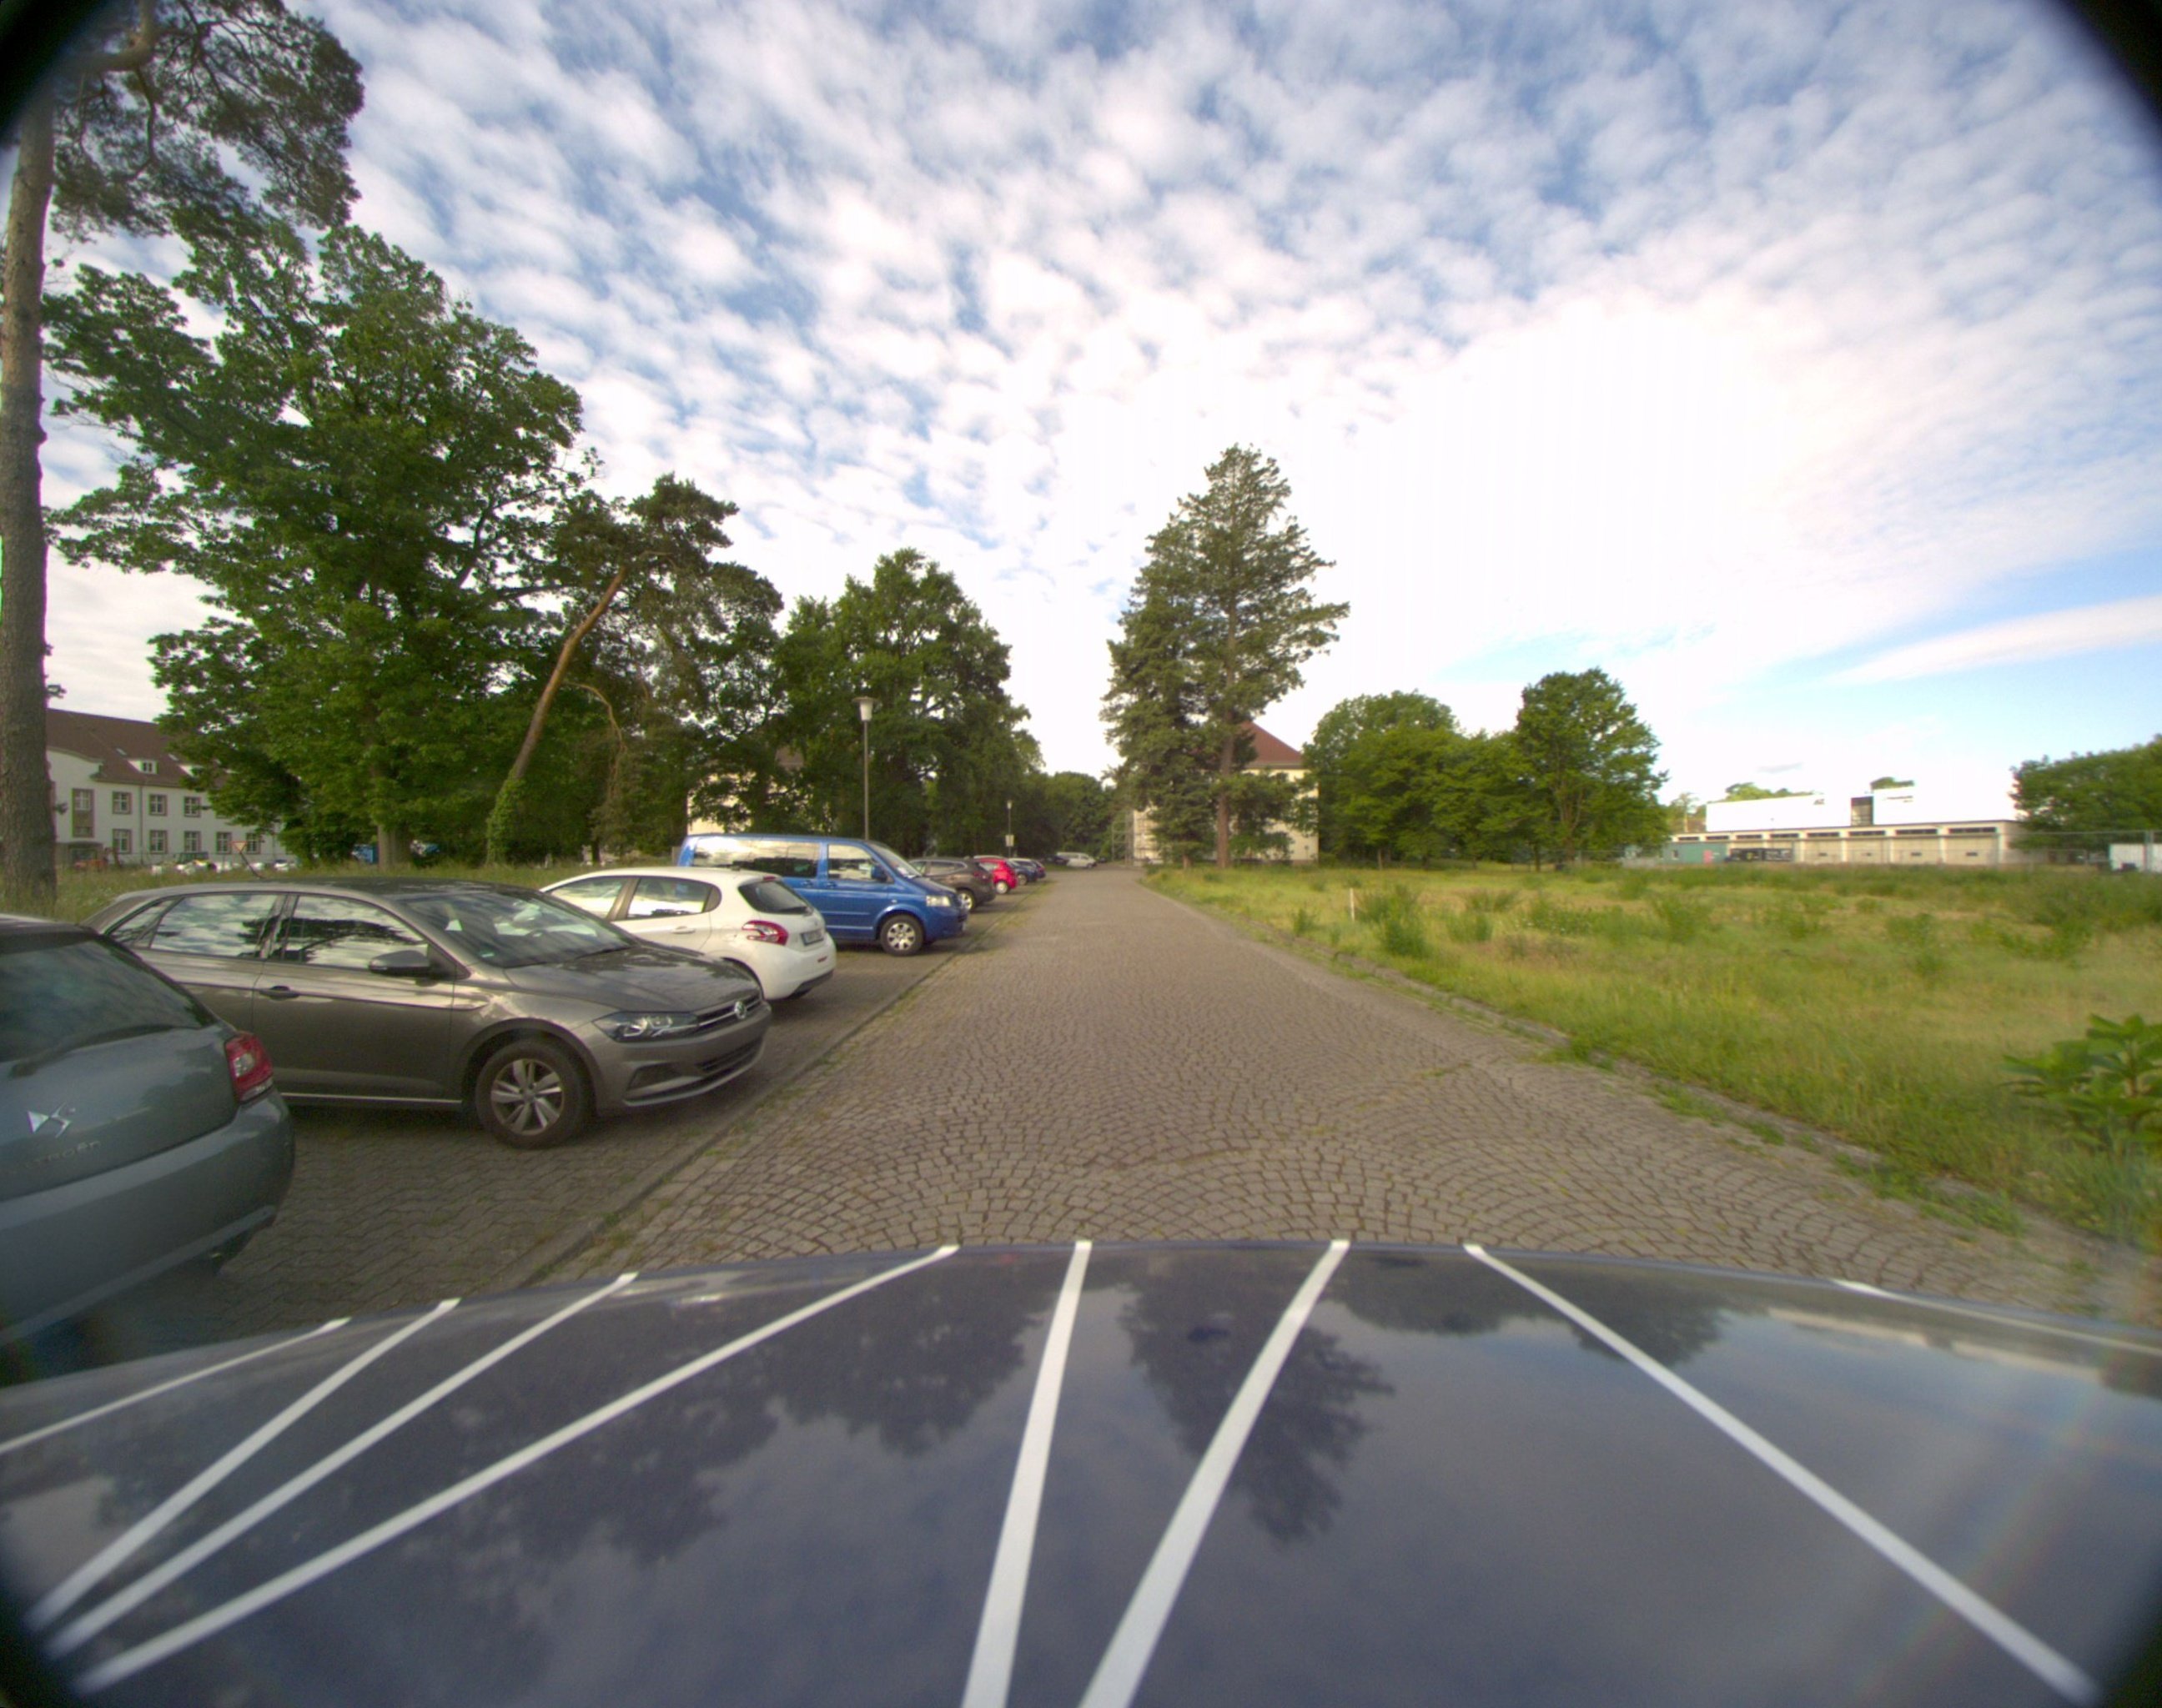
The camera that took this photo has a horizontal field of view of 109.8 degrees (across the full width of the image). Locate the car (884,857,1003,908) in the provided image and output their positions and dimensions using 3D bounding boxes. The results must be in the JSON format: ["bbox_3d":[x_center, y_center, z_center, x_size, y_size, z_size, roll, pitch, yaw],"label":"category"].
[{"bbox_3d":[-4.389,0.893,24.715,3.634,1.592,1.580,0,0,-3],"label":"car"}]

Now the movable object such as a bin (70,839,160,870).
[{"bbox_3d":[-90.140,0.035,71.004,1.999,2.752,5.201,0,0,-5],"label":"movable object such as a bin"}]

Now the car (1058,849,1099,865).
[{"bbox_3d":[-0.302,0.418,96.017,5.130,2.002,1.804,0,1,-1],"label":"car"}]

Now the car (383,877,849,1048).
[{"bbox_3d":[-4.482,1.000,7.691,3.761,1.490,1.581,0,0,2],"label":"car"}]

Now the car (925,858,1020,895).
[{"bbox_3d":[-4.532,0.922,32.210,3.839,1.516,1.580,0,0,-3],"label":"car"}]

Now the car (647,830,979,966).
[{"bbox_3d":[-4.424,0.690,13.145,4.953,2.011,2.060,2,0,1],"label":"car"}]

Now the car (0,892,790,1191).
[{"bbox_3d":[-4.060,1.014,4.806,3.781,1.457,1.643,0,0,2],"label":"car"}]

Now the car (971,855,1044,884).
[{"bbox_3d":[-4.081,0.856,42.586,3.836,1.609,1.582,0,1,5],"label":"car"}]

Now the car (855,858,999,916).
[{"bbox_3d":[-4.326,0.907,21.792,3.839,1.592,1.580,0,0,-3],"label":"car"}]

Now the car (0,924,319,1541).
[{"bbox_3d":[-4.666,1.002,1.920,3.837,1.495,1.604,0,0,0],"label":"car"}]

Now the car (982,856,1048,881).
[{"bbox_3d":[-4.077,0.907,47.361,3.836,1.520,1.674,0,0,5],"label":"car"}]
